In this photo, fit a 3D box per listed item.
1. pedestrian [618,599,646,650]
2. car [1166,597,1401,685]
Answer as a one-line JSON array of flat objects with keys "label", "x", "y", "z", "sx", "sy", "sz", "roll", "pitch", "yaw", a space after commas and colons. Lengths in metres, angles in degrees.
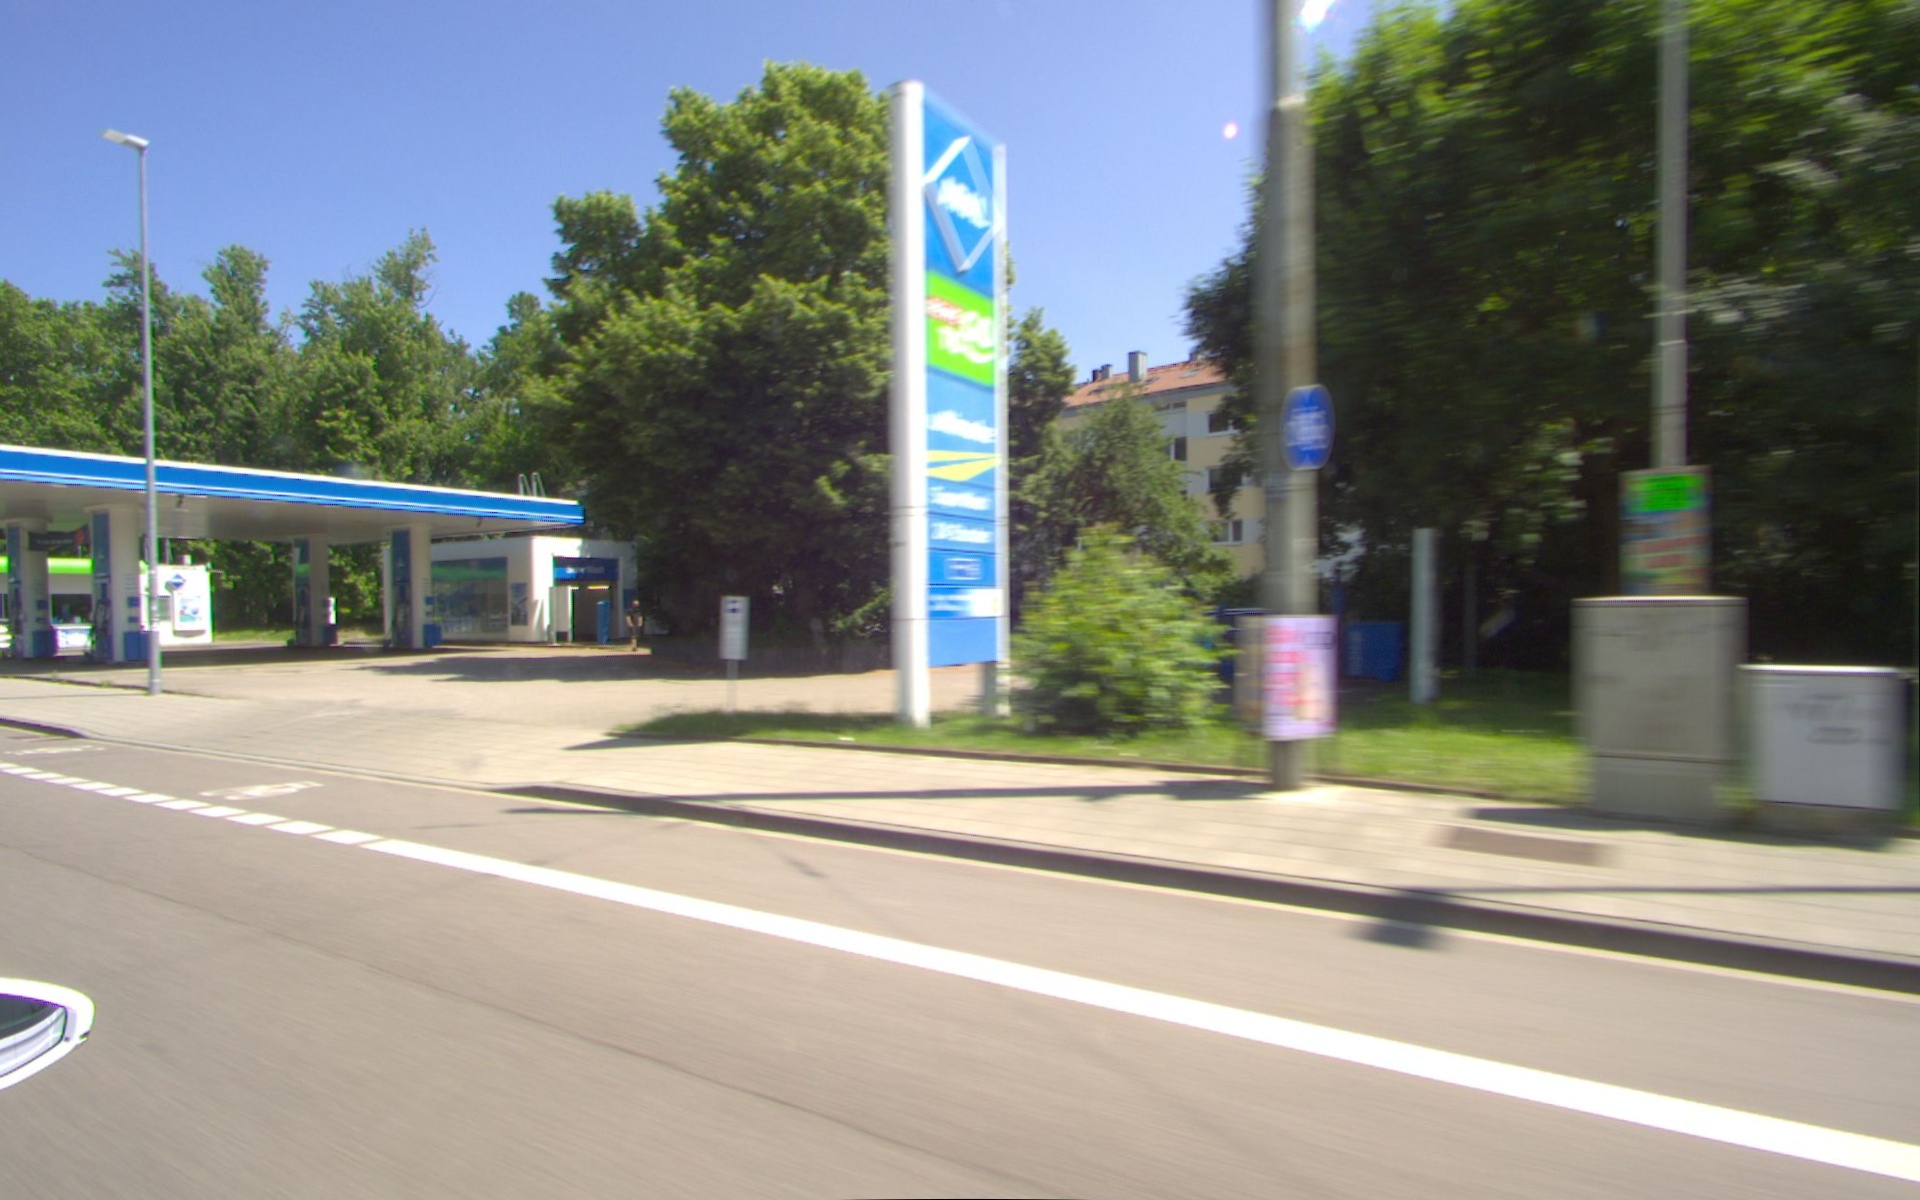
[{"label": "pedestrian", "x": -12.441, "y": 0.913, "z": 37.955, "sx": 0.825, "sy": 1.914, "sz": 0.623, "roll": 1, "pitch": 1, "yaw": 31}, {"label": "car", "x": 6.837, "y": 0.861, "z": 21.313, "sx": 4.354, "sy": 1.684, "sz": 1.987, "roll": -2, "pitch": -1, "yaw": 37}]
